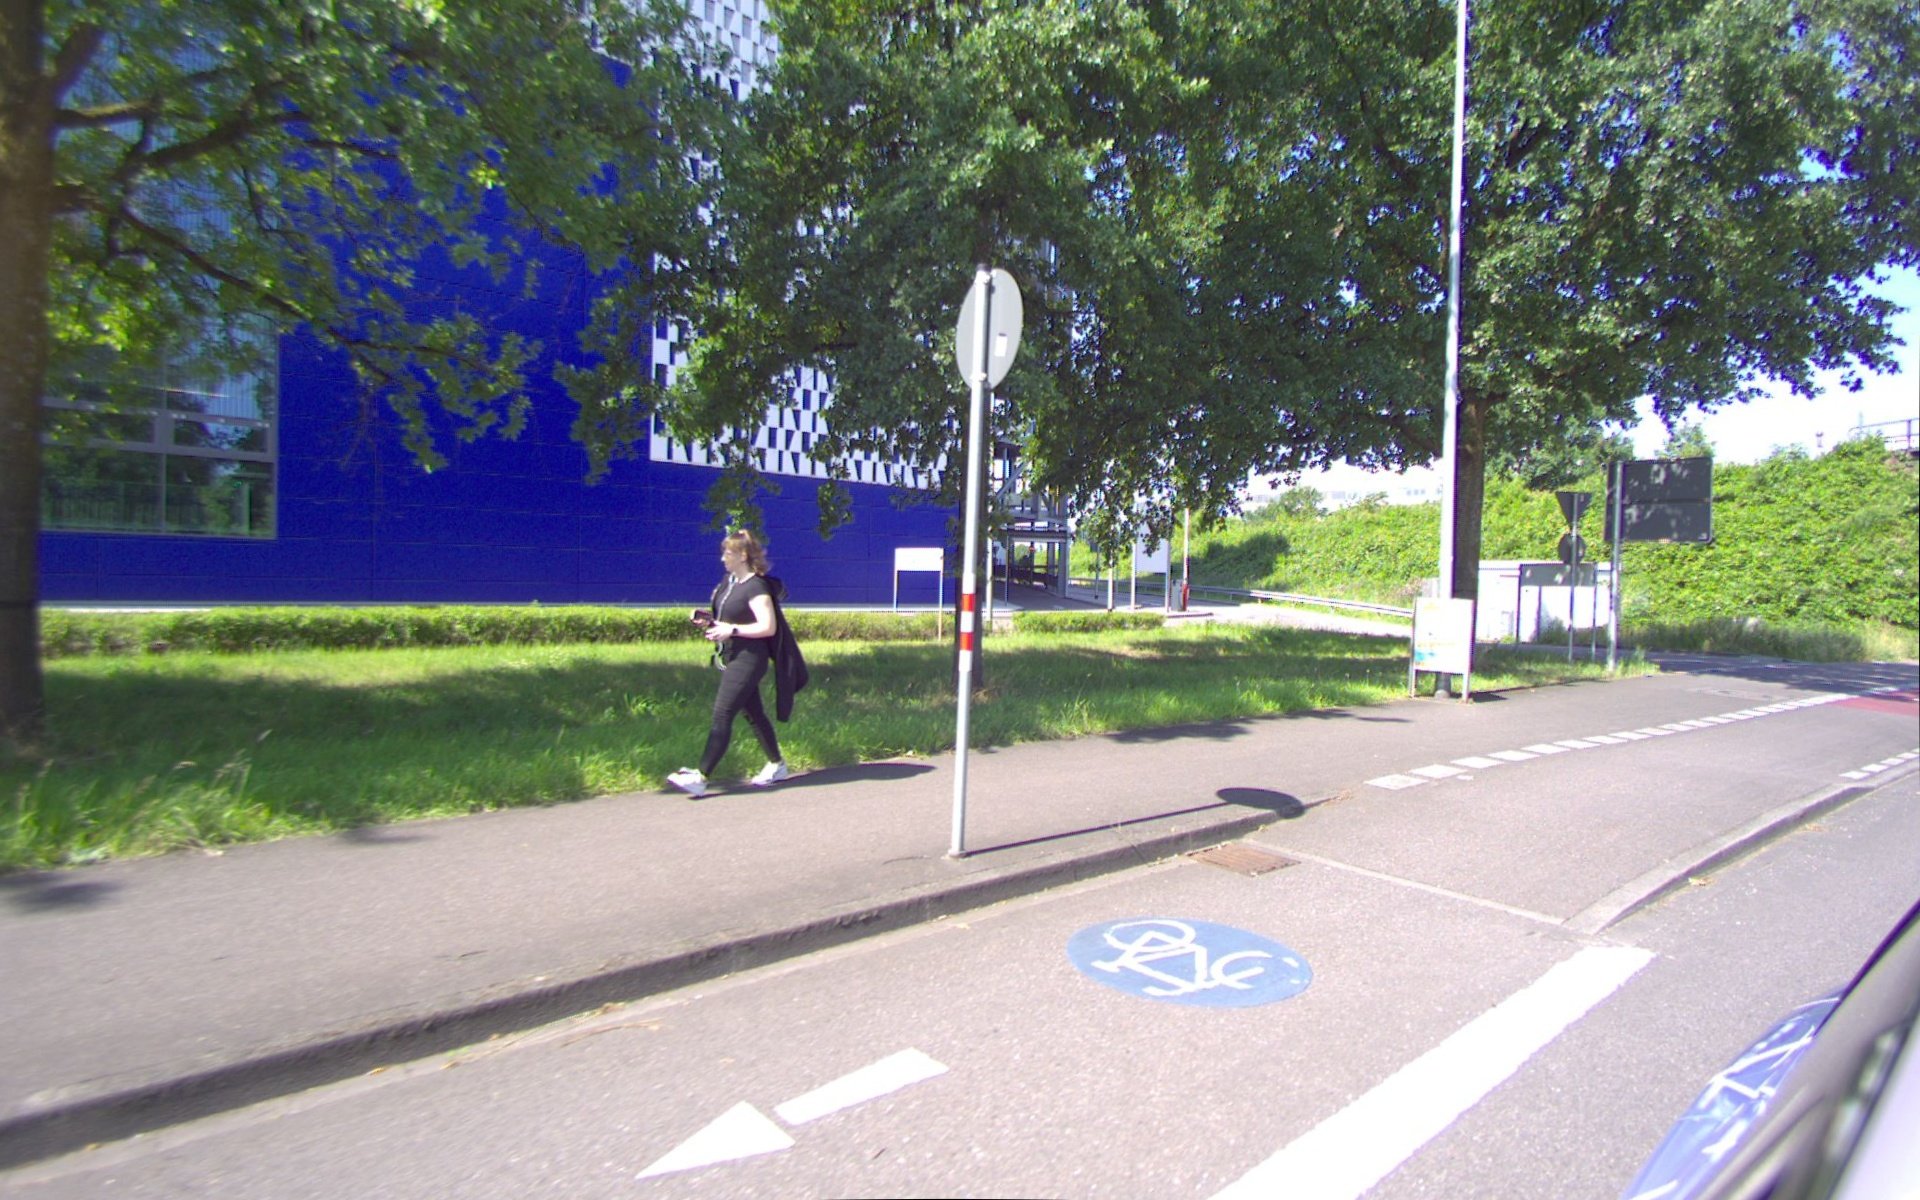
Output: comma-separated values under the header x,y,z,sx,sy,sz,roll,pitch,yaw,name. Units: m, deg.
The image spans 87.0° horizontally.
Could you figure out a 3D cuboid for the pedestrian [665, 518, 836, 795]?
x,y,z,sx,sy,sz,roll,pitch,yaw,name
-1.331,0.322,6.442,0.832,1.623,0.648,1,1,-41,pedestrian
